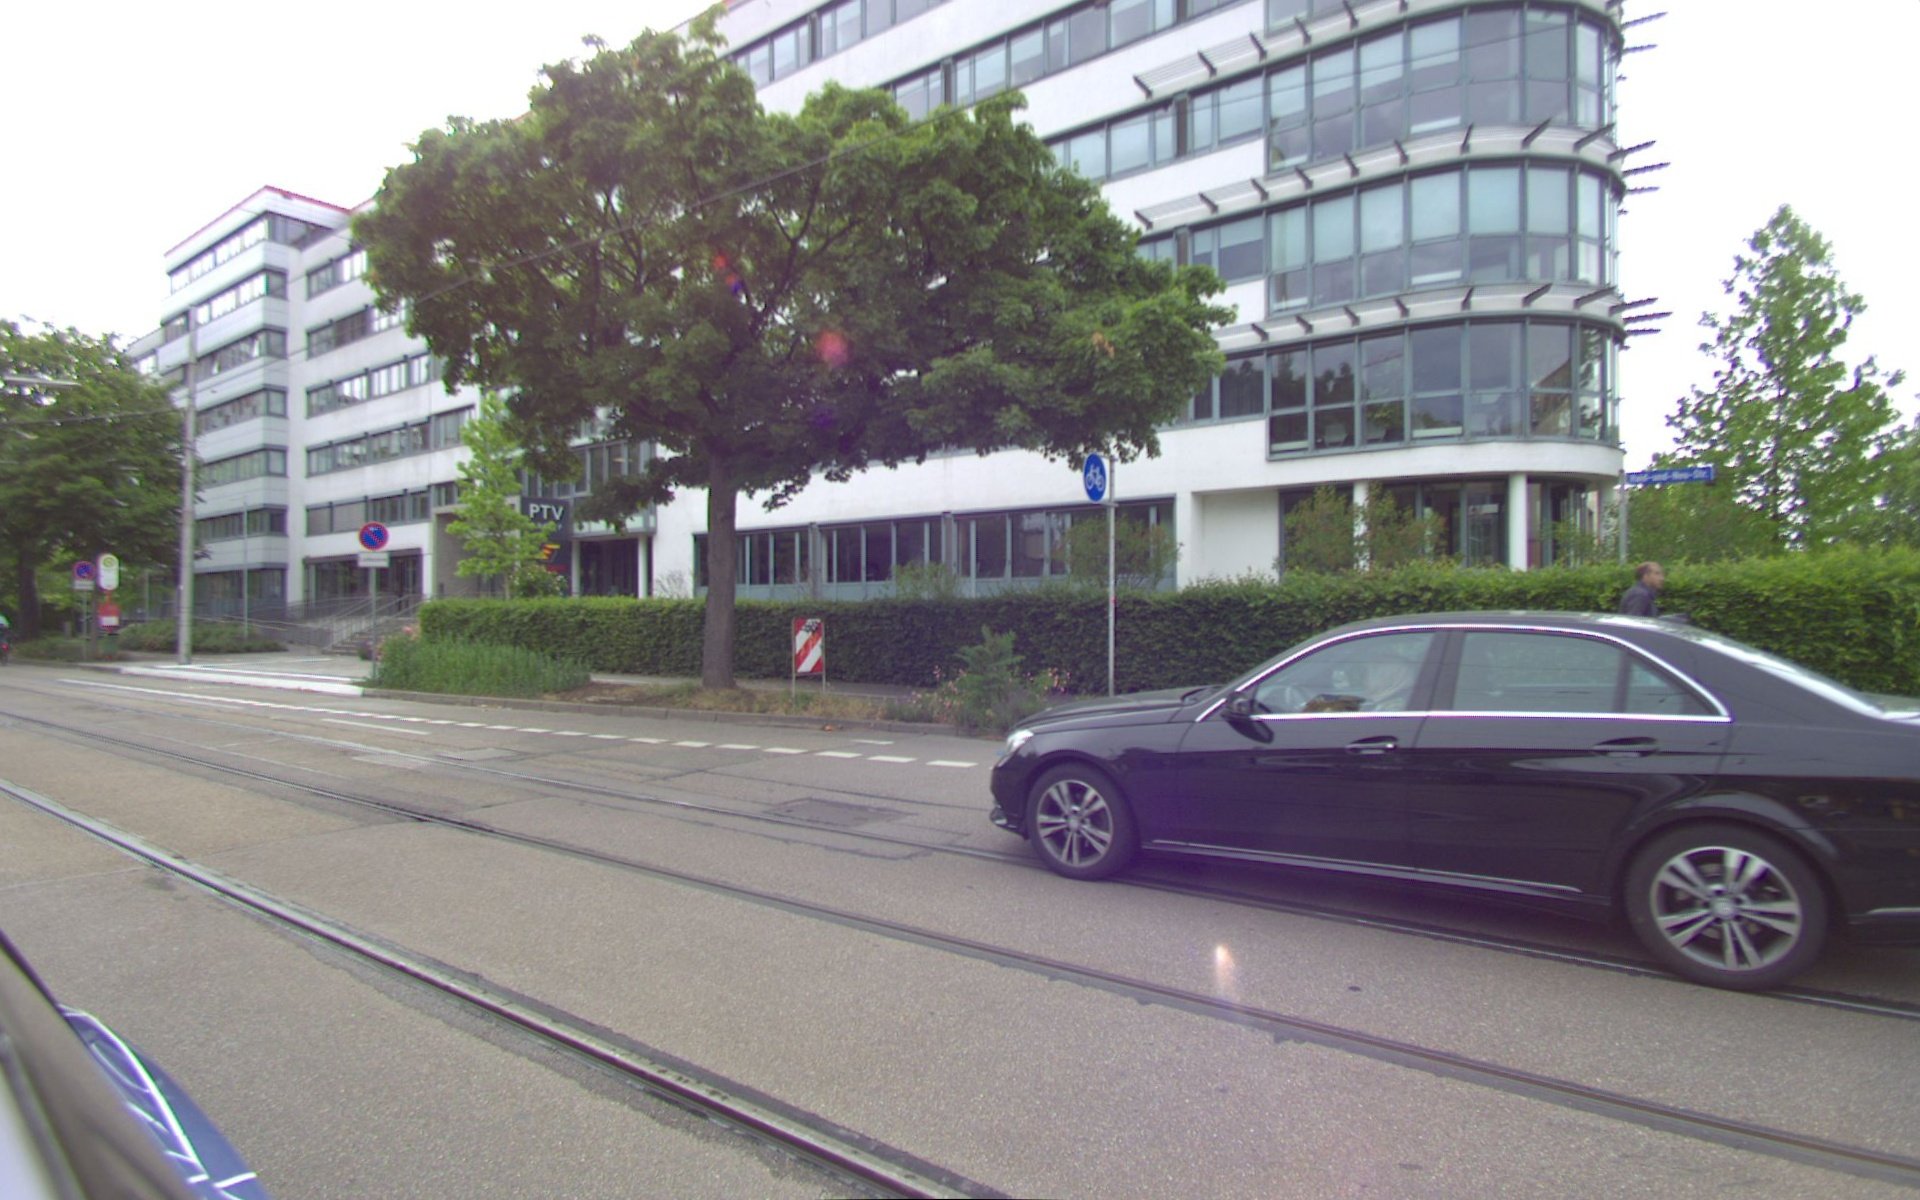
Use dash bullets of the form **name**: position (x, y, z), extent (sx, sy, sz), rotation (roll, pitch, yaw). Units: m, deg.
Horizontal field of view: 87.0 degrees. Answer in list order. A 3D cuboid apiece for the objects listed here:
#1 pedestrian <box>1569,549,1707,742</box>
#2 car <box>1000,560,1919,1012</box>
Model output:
- **pedestrian**: position (6.907, 0.436, 10.312), extent (1.059, 1.839, 0.795), rotation (-1, 0, 41)
- **car**: position (2.560, 0.655, 5.104), extent (4.469, 1.558, 1.781), rotation (-1, 0, 35)
